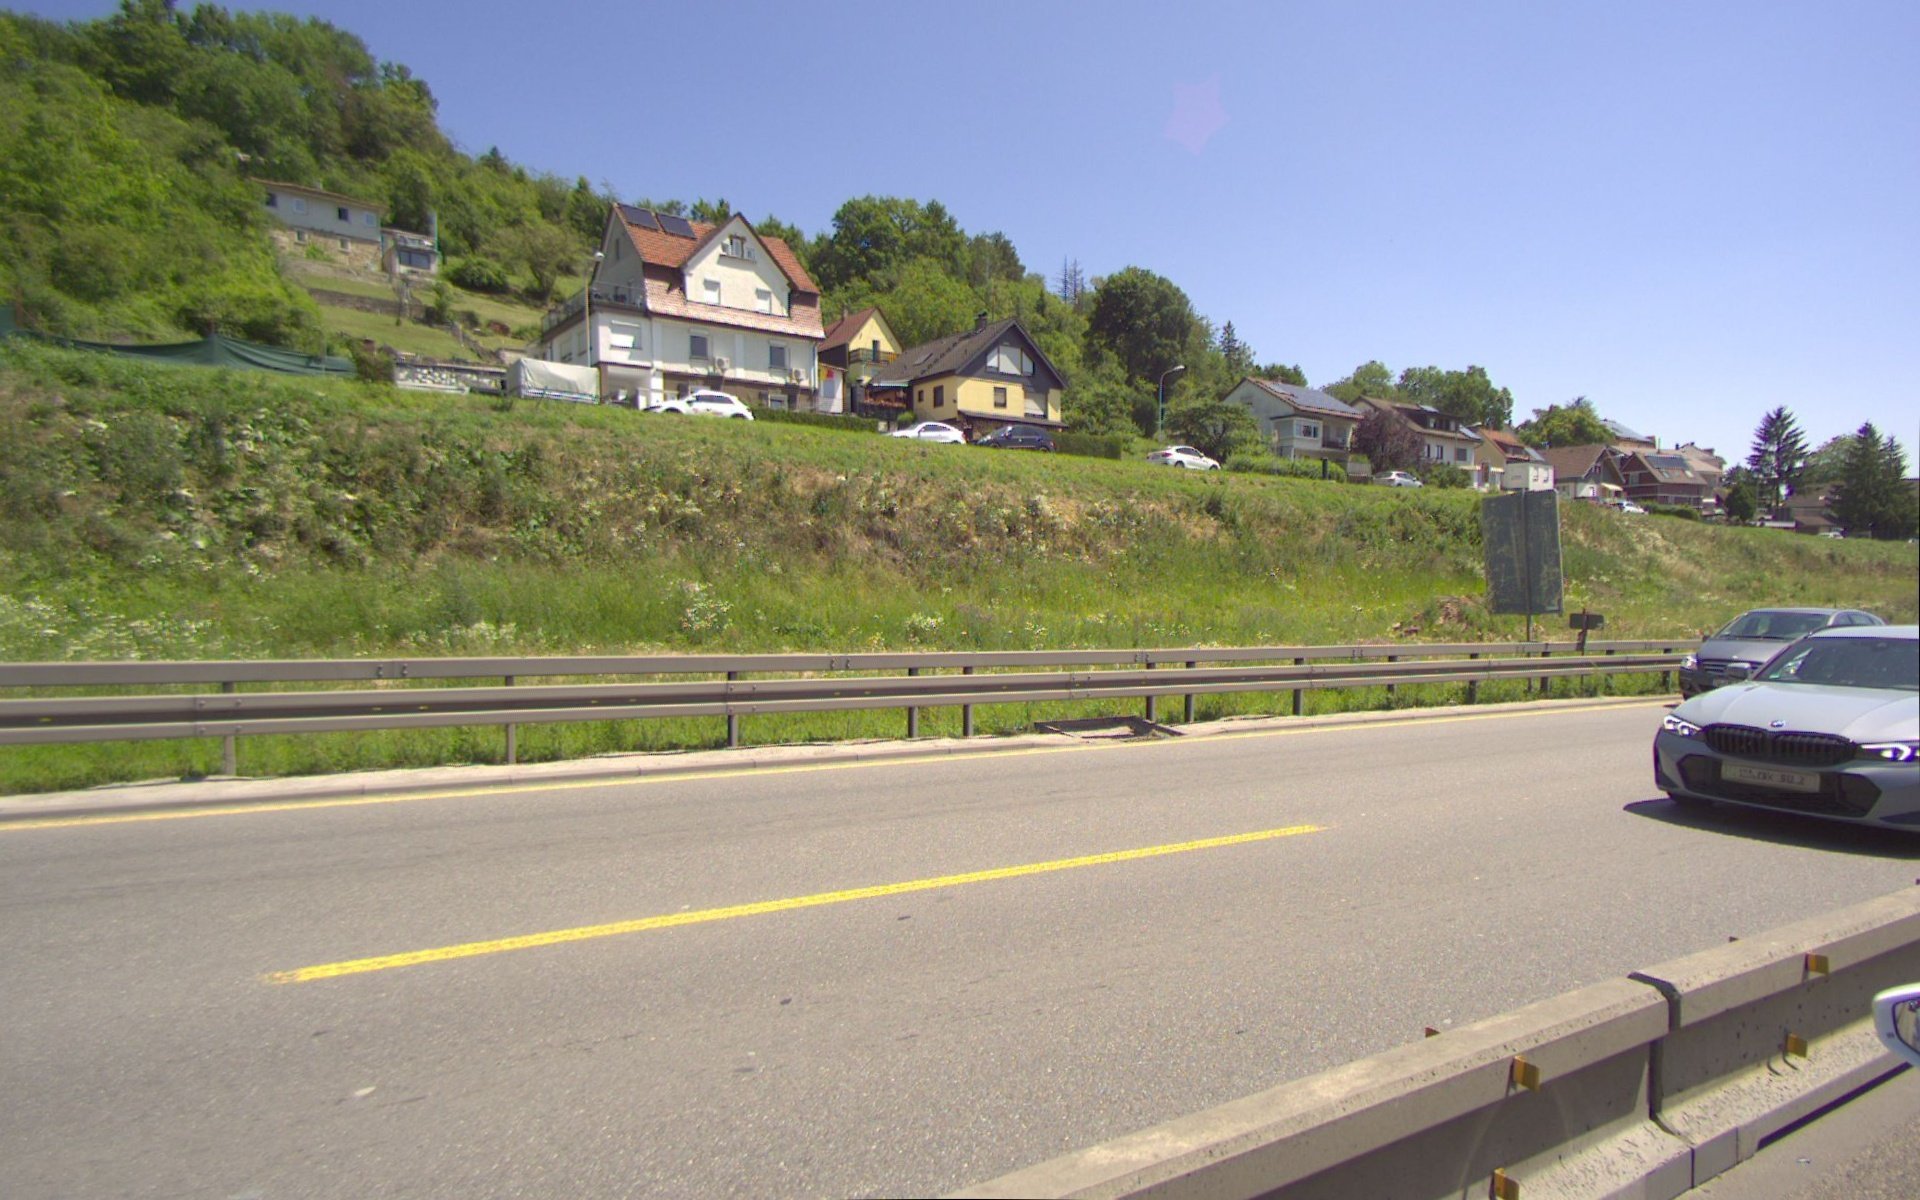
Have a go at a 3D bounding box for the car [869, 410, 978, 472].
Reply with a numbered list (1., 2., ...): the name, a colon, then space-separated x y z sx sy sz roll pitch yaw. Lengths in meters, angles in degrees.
1. car: -1.561 -6.843 43.725 4.388 1.896 1.980 2 0 -36

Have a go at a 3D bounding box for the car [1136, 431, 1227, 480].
1. car: 11.901 -7.680 53.789 4.965 1.817 1.979 2 0 -37

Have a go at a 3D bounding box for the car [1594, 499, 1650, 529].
1. car: 56.893 -7.372 86.289 4.767 2.068 2.334 2 0 -33

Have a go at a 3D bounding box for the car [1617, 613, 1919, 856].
1. car: 7.390 0.867 7.960 4.575 1.452 1.820 1 0 -31

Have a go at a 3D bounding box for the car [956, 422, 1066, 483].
1. car: 2.414 -6.807 46.919 4.924 2.035 2.057 2 0 -35

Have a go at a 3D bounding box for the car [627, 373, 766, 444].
1. car: -9.691 -6.998 37.105 4.515 1.678 1.977 2 -1 -40

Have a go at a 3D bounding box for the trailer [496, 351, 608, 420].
1. trailer: -13.709 -7.168 33.801 3.014 1.536 1.885 2 -1 -41

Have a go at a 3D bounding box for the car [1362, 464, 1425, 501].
1. car: 27.775 -7.496 64.274 3.963 1.817 1.979 2 0 -37

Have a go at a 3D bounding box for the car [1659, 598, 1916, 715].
1. car: 13.160 0.833 15.929 4.235 1.603 1.764 1 1 -30
